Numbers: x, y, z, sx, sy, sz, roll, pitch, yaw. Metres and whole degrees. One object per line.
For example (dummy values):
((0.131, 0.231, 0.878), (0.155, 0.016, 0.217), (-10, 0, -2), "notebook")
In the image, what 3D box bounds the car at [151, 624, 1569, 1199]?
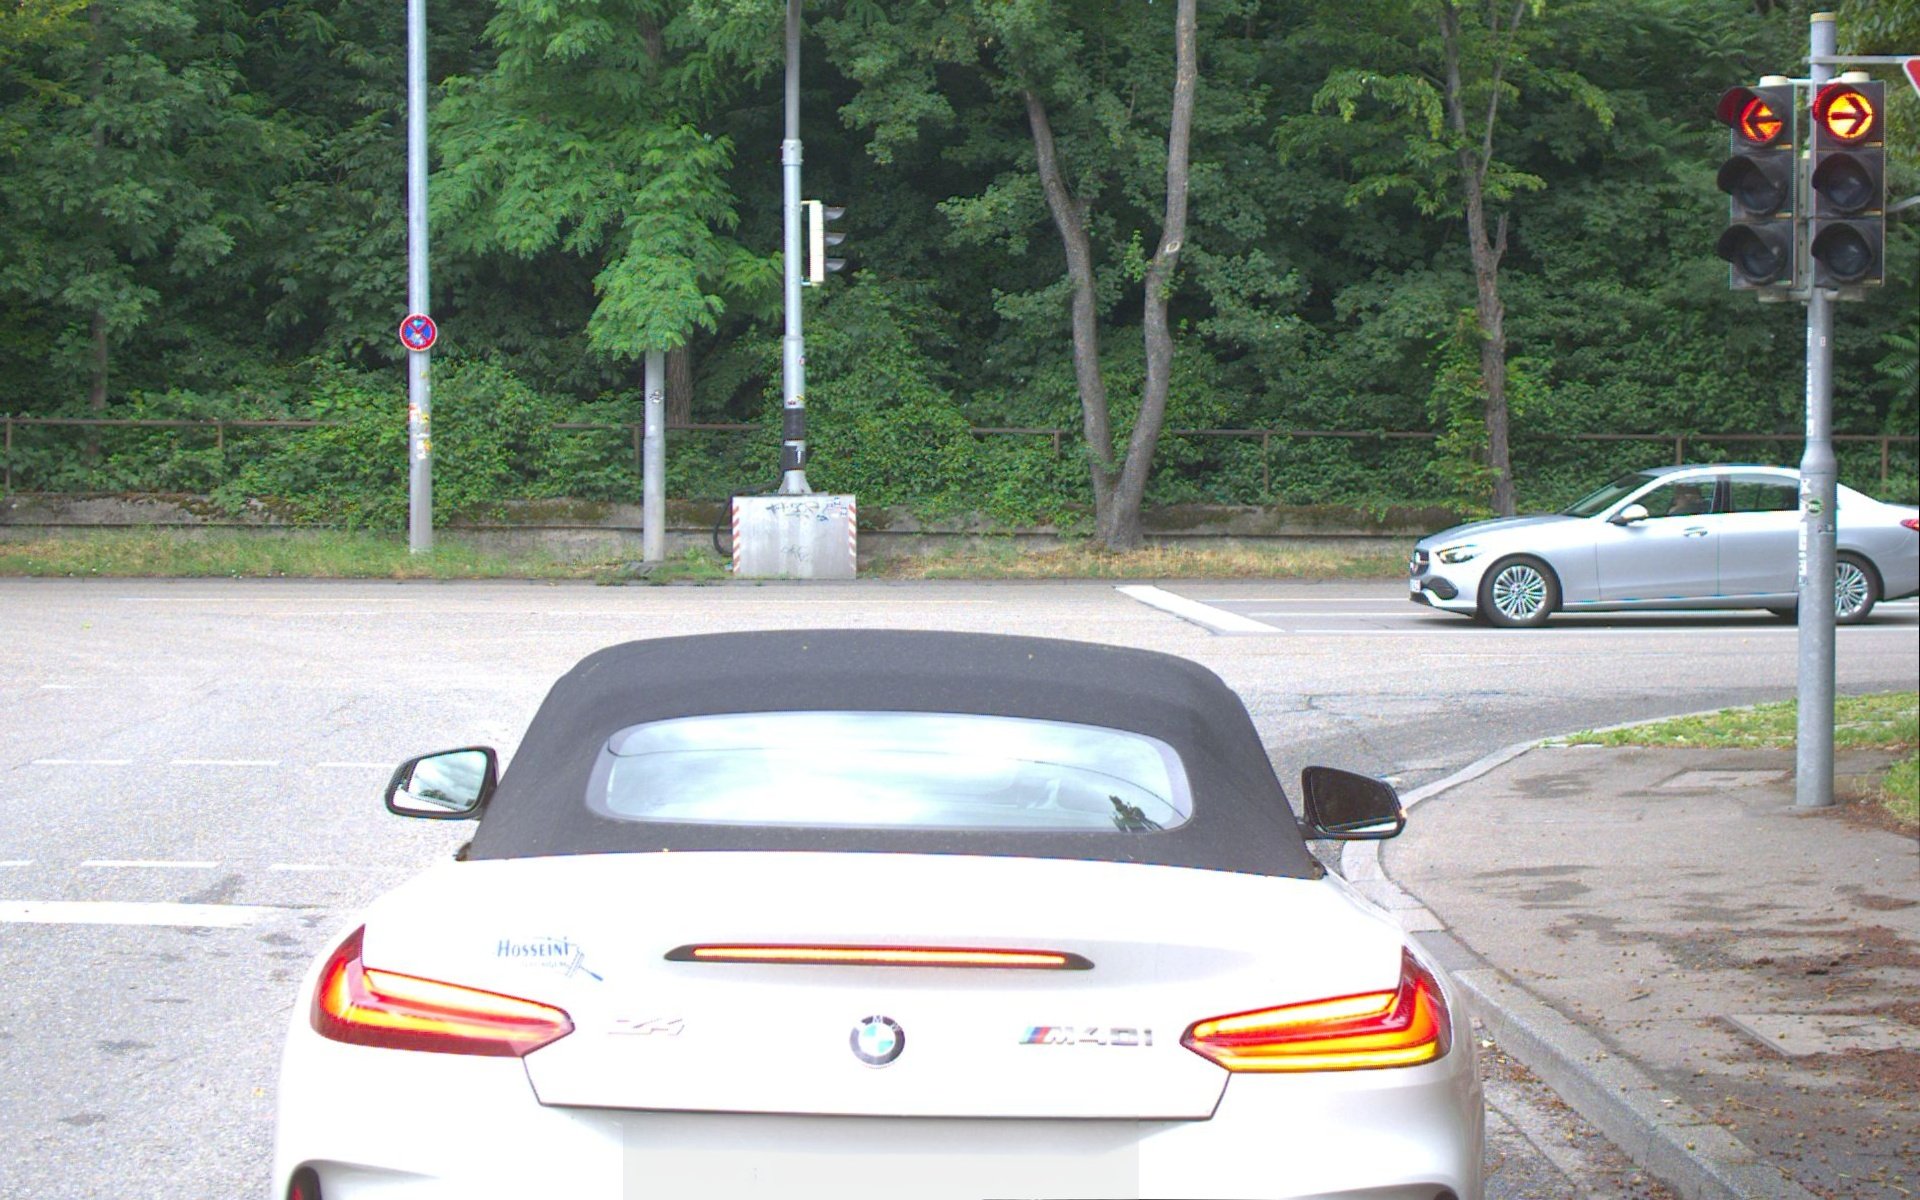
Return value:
((-0.222, 0.700, 6.471), (1.827, 1.253, 4.000), (2, 0, -3), "car")

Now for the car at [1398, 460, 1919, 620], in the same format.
((6.487, -0.559, 31.042), (4.751, 1.329, 1.834), (1, 3, -3), "car")
